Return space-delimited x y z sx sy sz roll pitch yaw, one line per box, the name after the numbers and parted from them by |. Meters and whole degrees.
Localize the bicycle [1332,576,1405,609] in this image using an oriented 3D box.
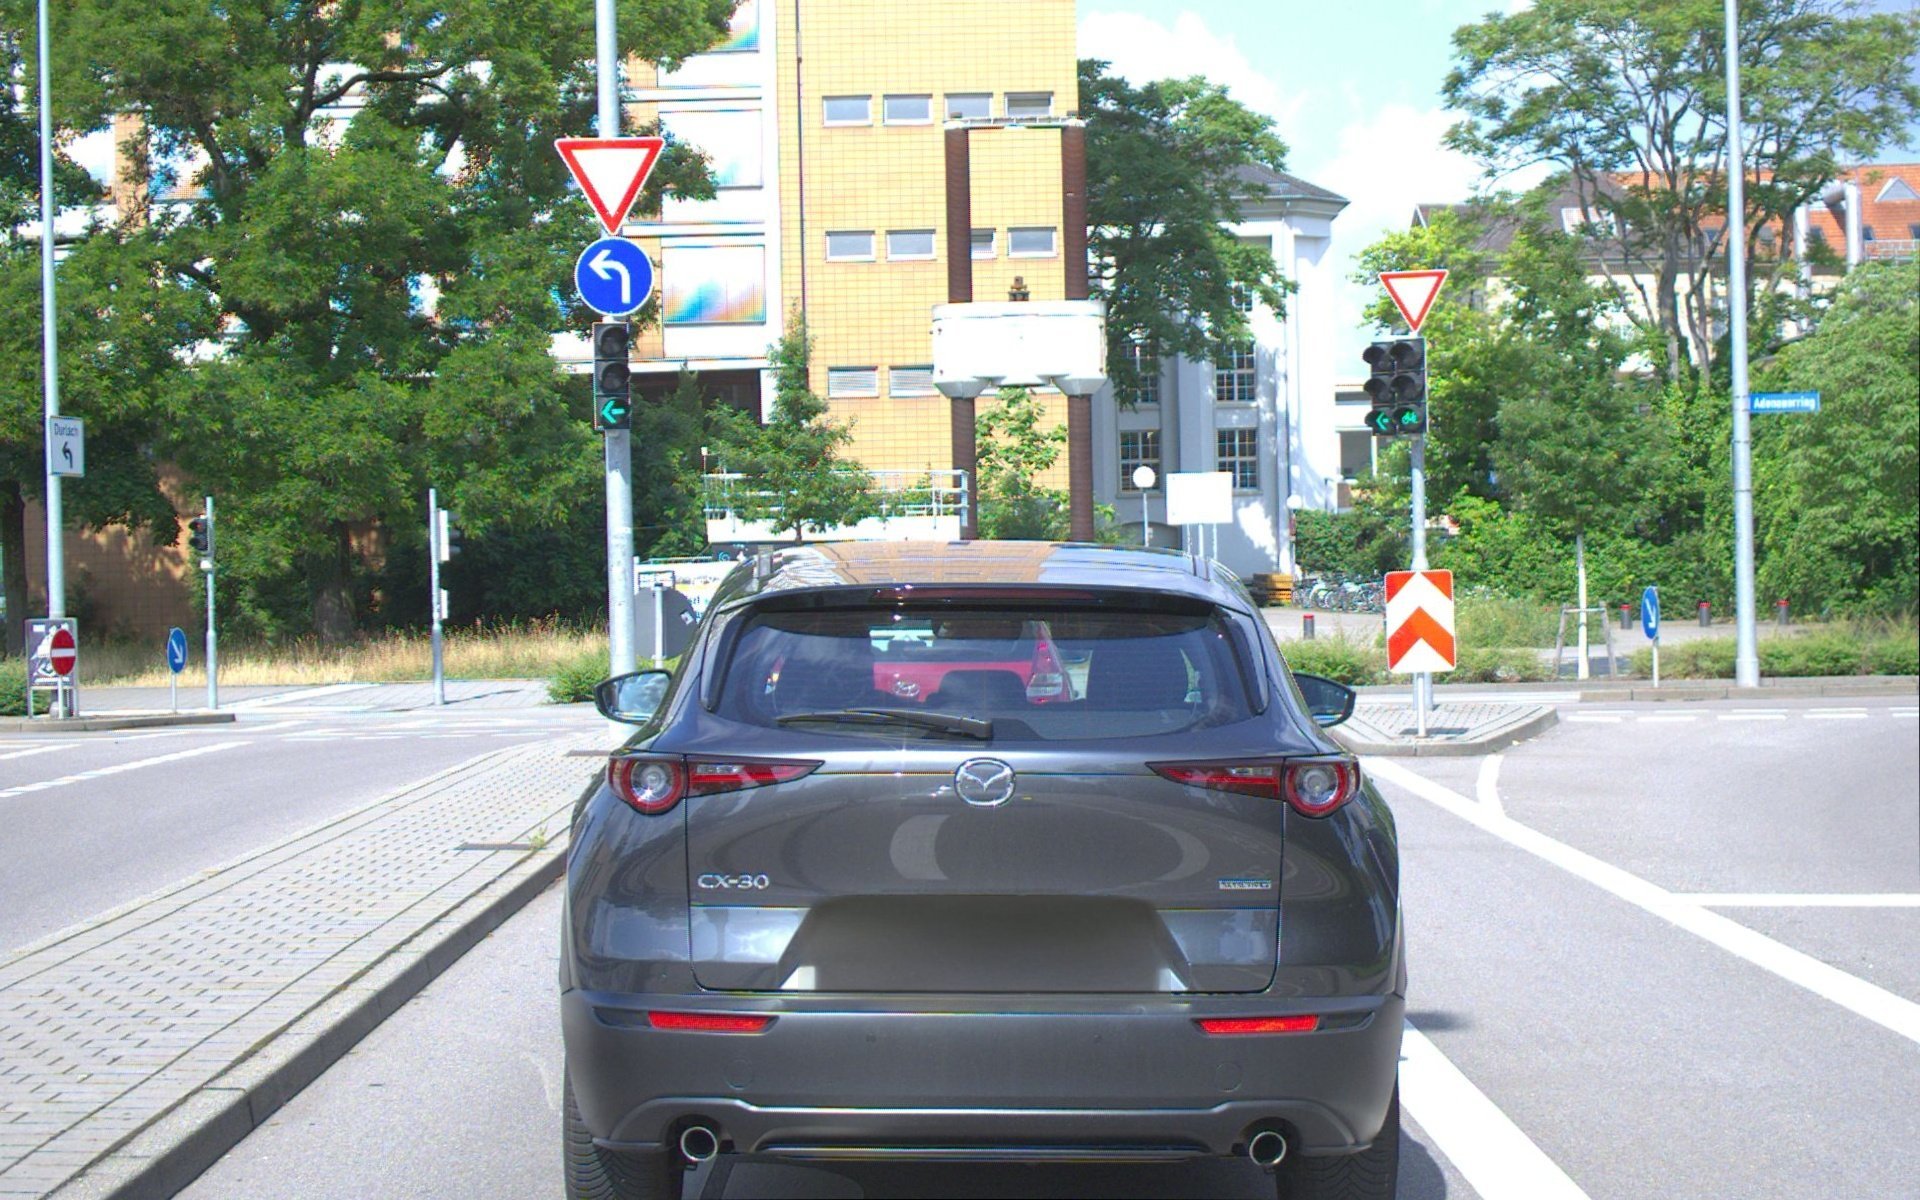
12.336 -0.219 103.827 2.055 0.933 0.804 -1 0 -1 | bicycle

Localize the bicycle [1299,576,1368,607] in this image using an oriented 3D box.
11.788 -0.266 108.579 2.055 0.933 0.804 -1 0 -1 | bicycle

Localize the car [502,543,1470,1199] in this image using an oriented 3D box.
0.019 0.638 8.613 1.806 1.503 4.205 1 1 -1 | car

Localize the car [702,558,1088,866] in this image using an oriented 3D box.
-0.235 0.512 18.292 1.816 1.434 4.067 1 0 2 | car

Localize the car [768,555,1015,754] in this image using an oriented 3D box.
-0.505 0.394 28.387 1.848 1.467 4.335 -2 0 1 | car

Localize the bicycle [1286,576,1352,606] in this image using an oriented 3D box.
11.840 -0.308 113.438 2.055 0.933 0.804 -1 0 -1 | bicycle
